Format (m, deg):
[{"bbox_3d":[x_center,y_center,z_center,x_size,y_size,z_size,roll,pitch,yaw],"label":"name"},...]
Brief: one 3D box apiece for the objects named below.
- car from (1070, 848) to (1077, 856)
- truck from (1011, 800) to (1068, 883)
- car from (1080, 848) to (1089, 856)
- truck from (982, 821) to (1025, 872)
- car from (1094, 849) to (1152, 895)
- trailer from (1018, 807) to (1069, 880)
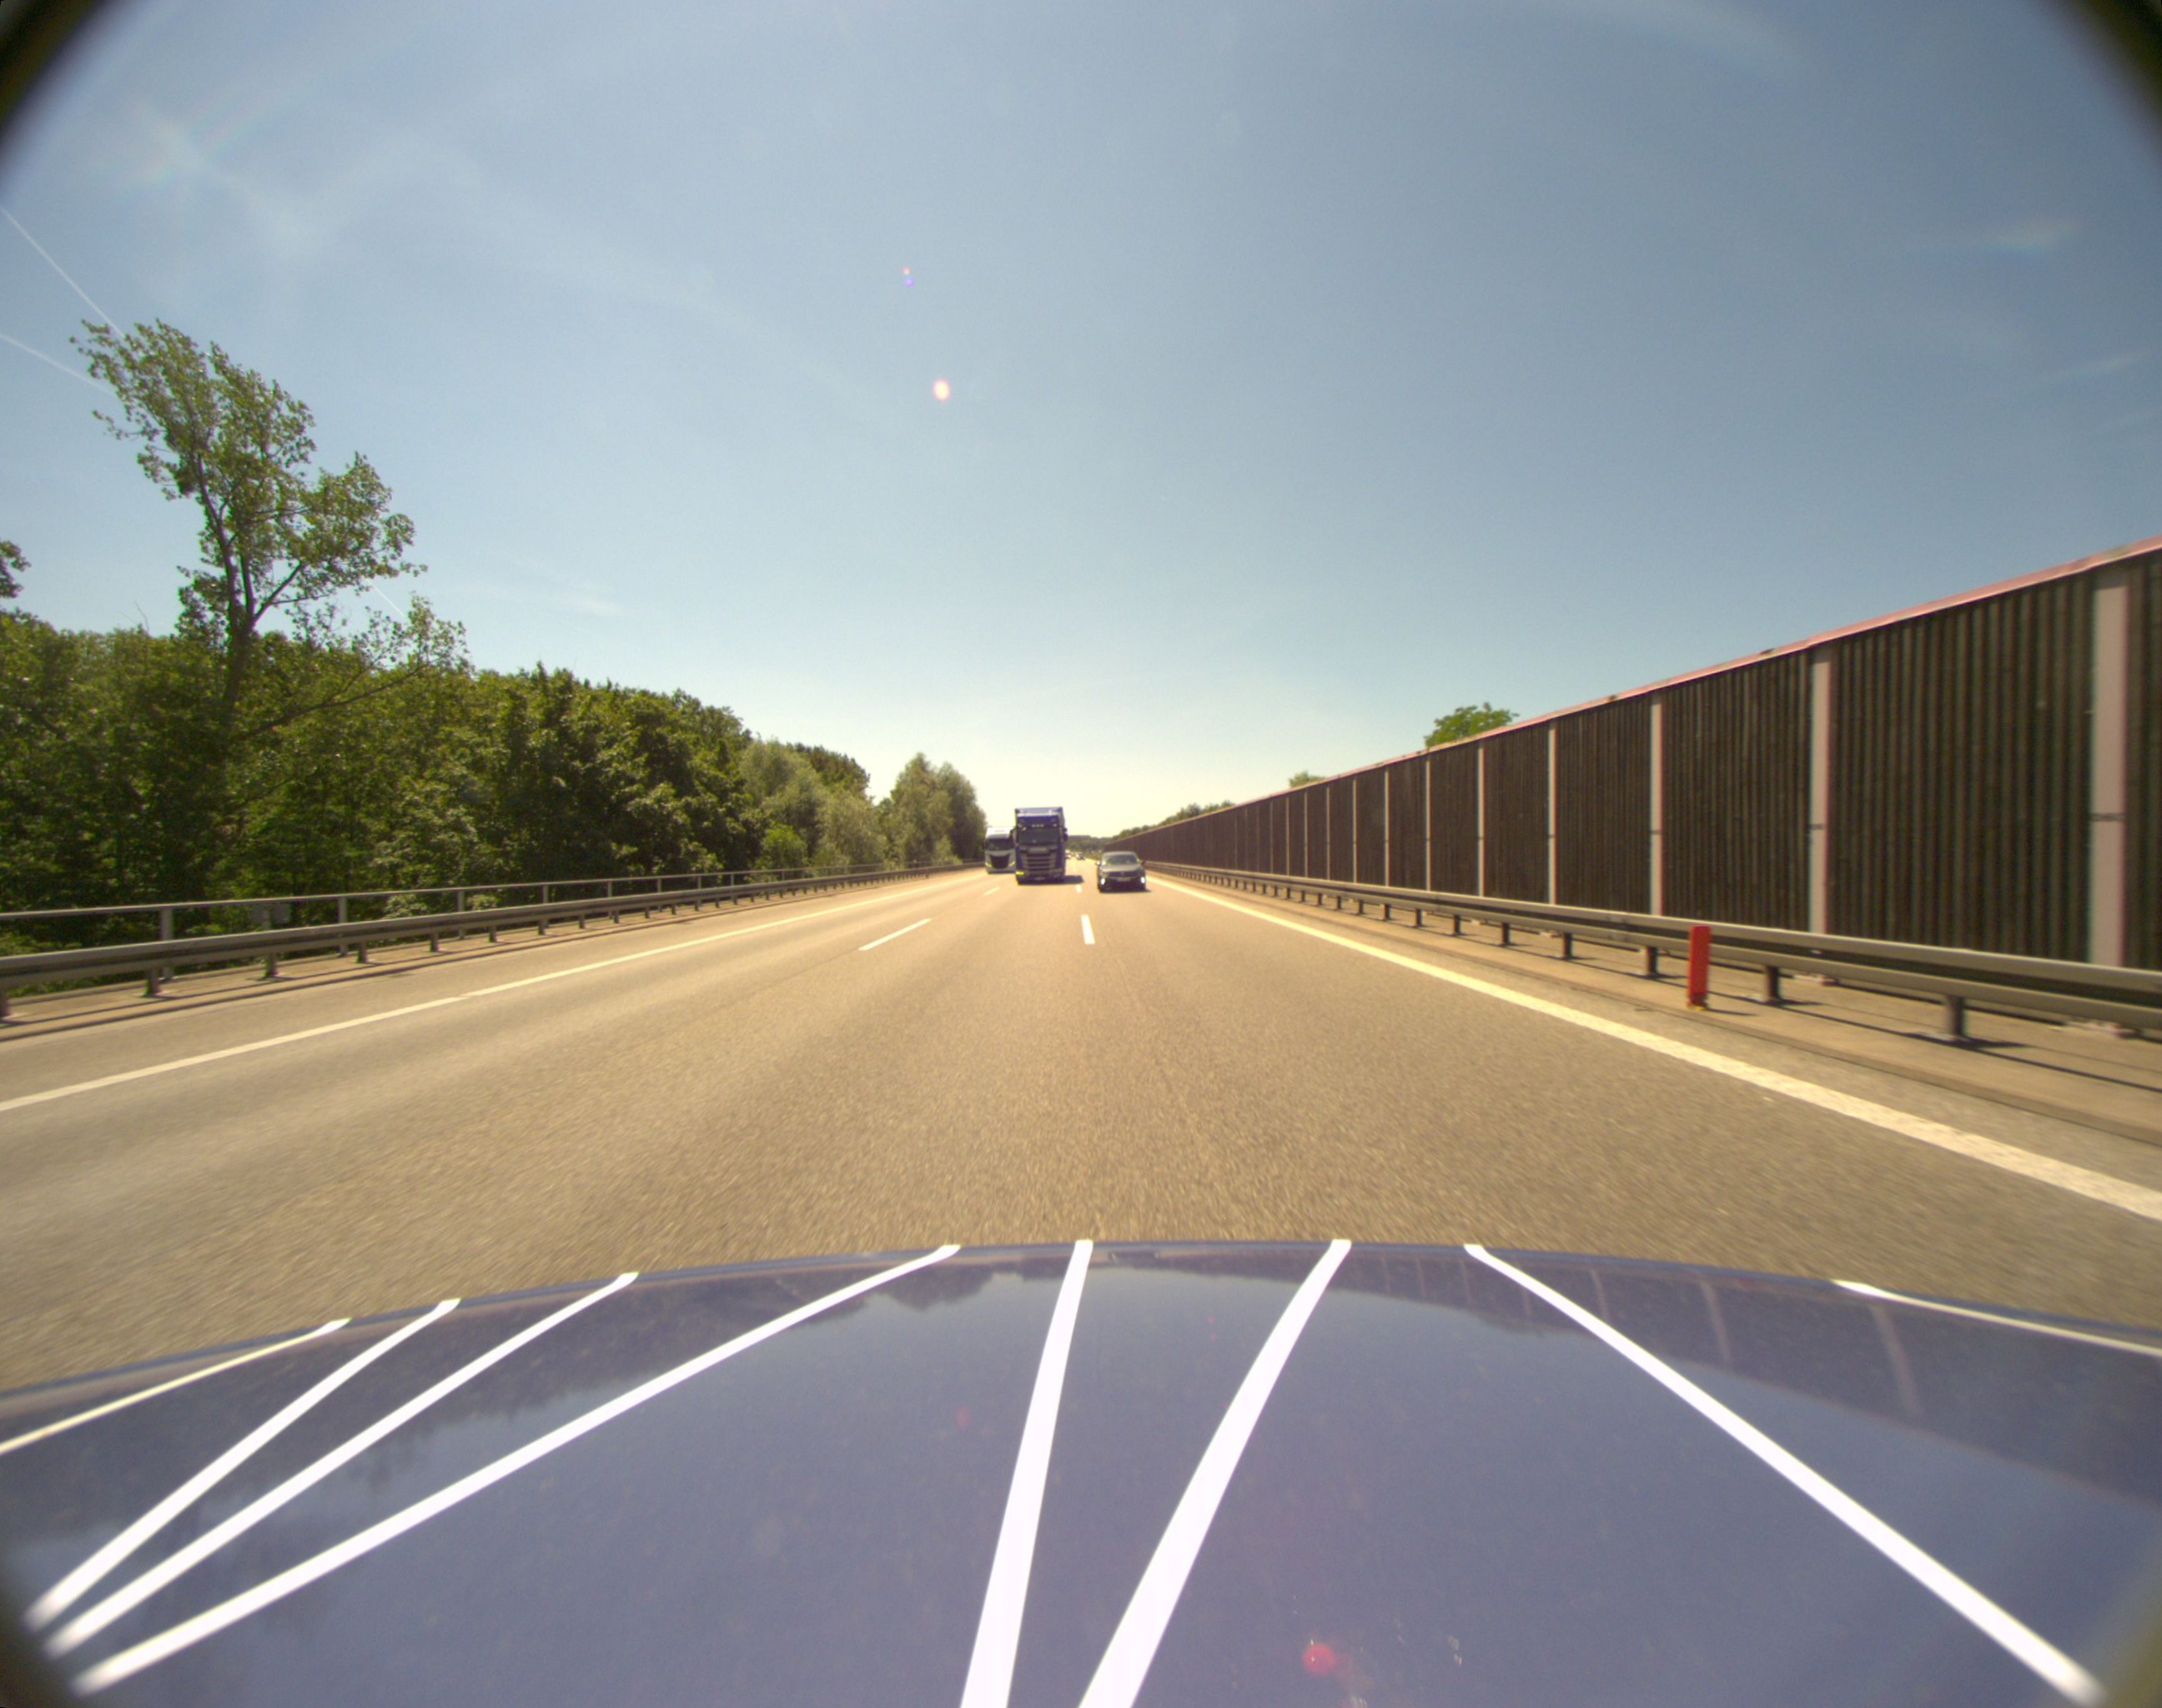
[{"bbox_3d":[-2.310,-0.594,224.833,1.999,2.002,3.999,-2,0,-2],"label":"car"},{"bbox_3d":[-2.134,-0.633,41.980,2.707,4.094,6.989,-2,0,-1],"label":"truck"},{"bbox_3d":[0.740,-0.500,179.919,1.998,1.717,4.000,-2,0,1],"label":"car"},{"bbox_3d":[-6.808,-0.654,68.296,2.820,4.139,10.446,-2,0,-1],"label":"truck"},{"bbox_3d":[1.586,0.659,30.579,1.885,1.630,5.008,-2,0,-2],"label":"car"},{"bbox_3d":[-2.228,-0.641,49.453,2.707,4.094,12.129,-2,0,-1],"label":"trailer"}]
